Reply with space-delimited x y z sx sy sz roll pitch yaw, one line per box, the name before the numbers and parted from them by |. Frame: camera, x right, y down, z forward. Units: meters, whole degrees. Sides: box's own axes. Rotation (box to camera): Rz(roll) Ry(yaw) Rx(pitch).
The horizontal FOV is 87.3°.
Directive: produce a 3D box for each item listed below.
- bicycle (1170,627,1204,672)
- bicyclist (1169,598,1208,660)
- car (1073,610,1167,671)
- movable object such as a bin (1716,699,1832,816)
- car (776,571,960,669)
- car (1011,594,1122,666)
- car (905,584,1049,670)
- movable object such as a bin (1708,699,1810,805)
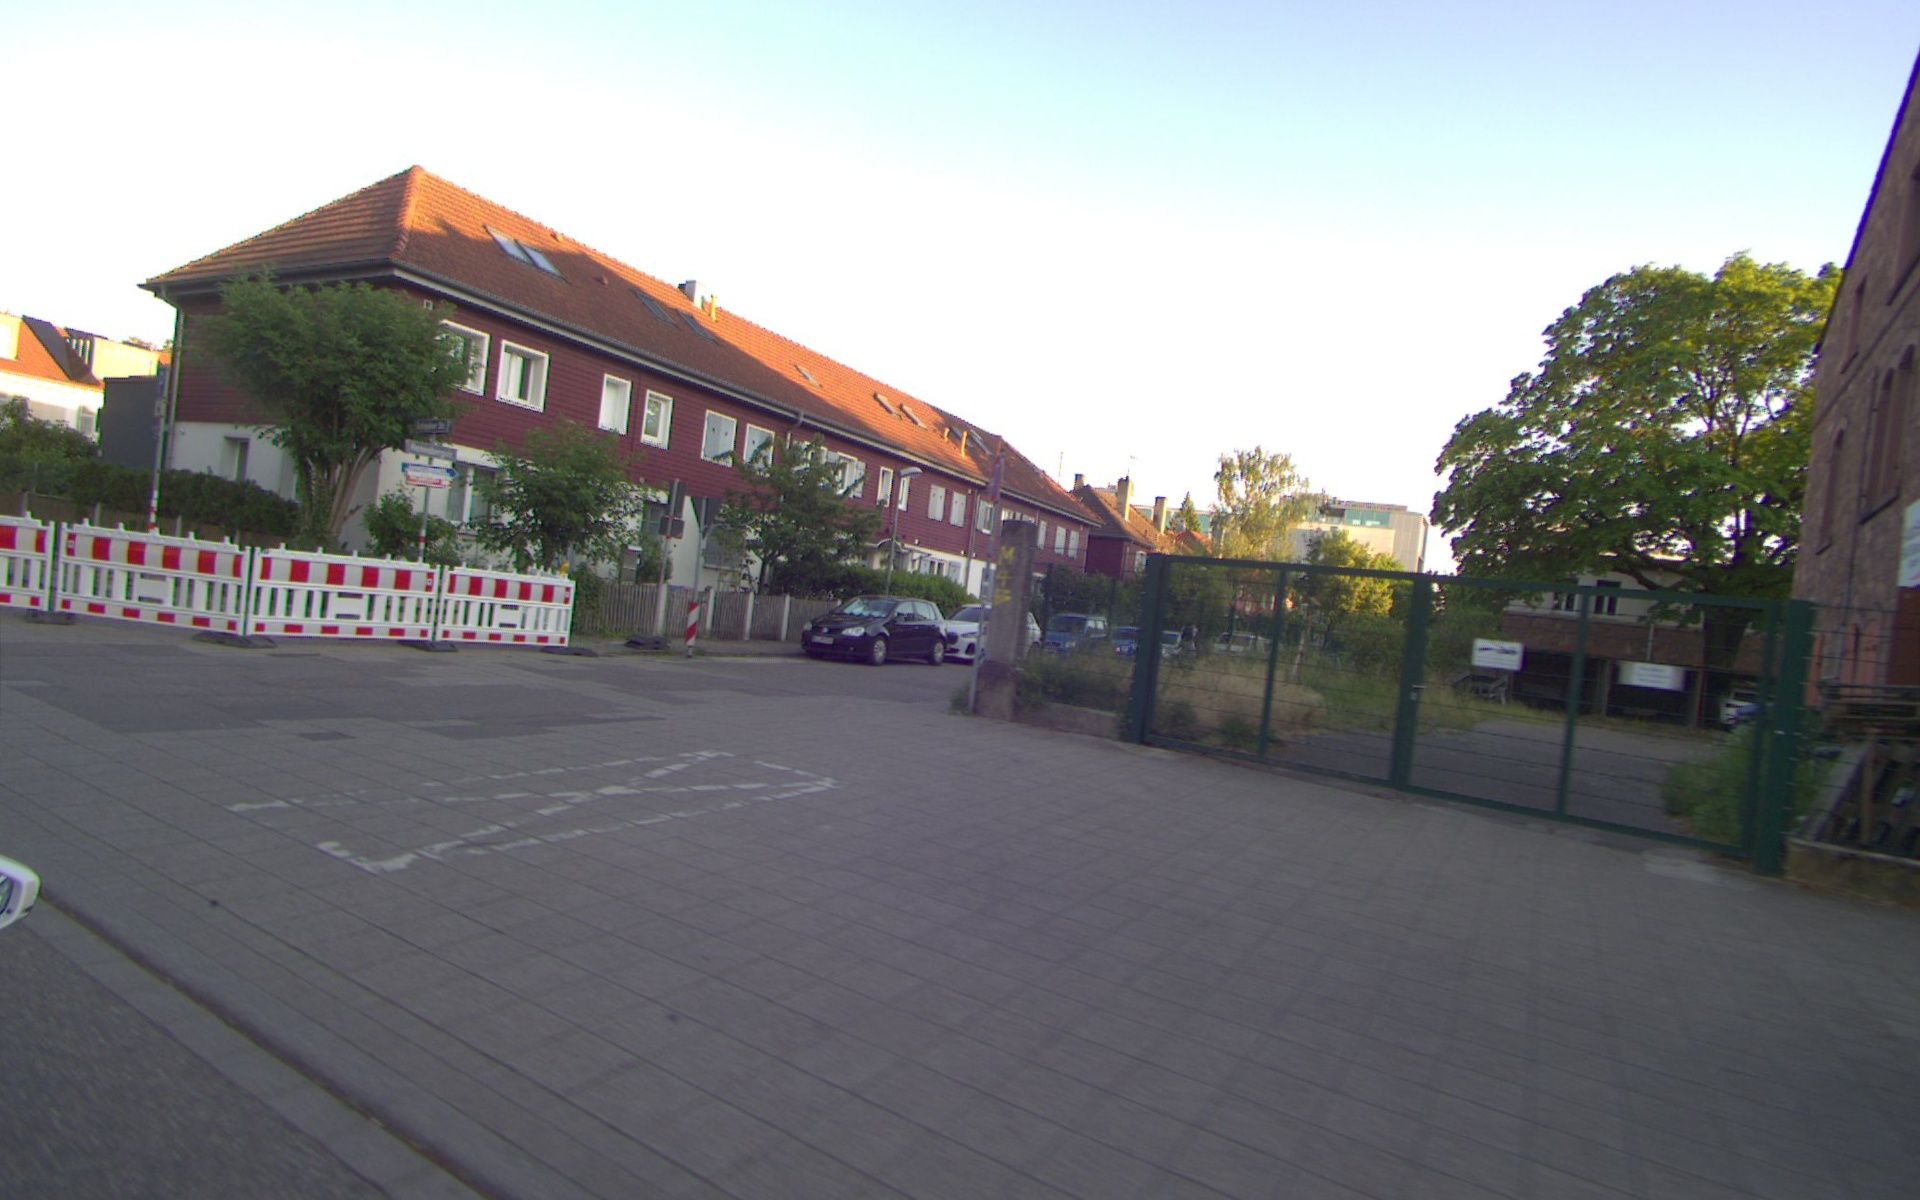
bicycle | 6.831 1.500 30.214 0.444 1.238 1.881 7 0 27
bicyclist | 6.854 0.873 30.141 0.731 1.719 0.980 7 0 27
car | 5.801 1.491 36.136 1.965 1.783 3.996 7 -1 28
movable object such as a bin | 11.881 2.265 14.743 1.080 1.461 1.261 7 0 35
car | -1.896 0.506 21.931 1.965 1.683 3.996 7 -1 28
car | 3.465 1.013 32.041 1.965 1.855 3.996 7 -1 28
car | 0.532 0.757 26.301 1.965 1.789 3.996 7 -1 28
movable object such as a bin | 12.721 2.393 16.069 1.042 1.461 1.286 7 0 35
